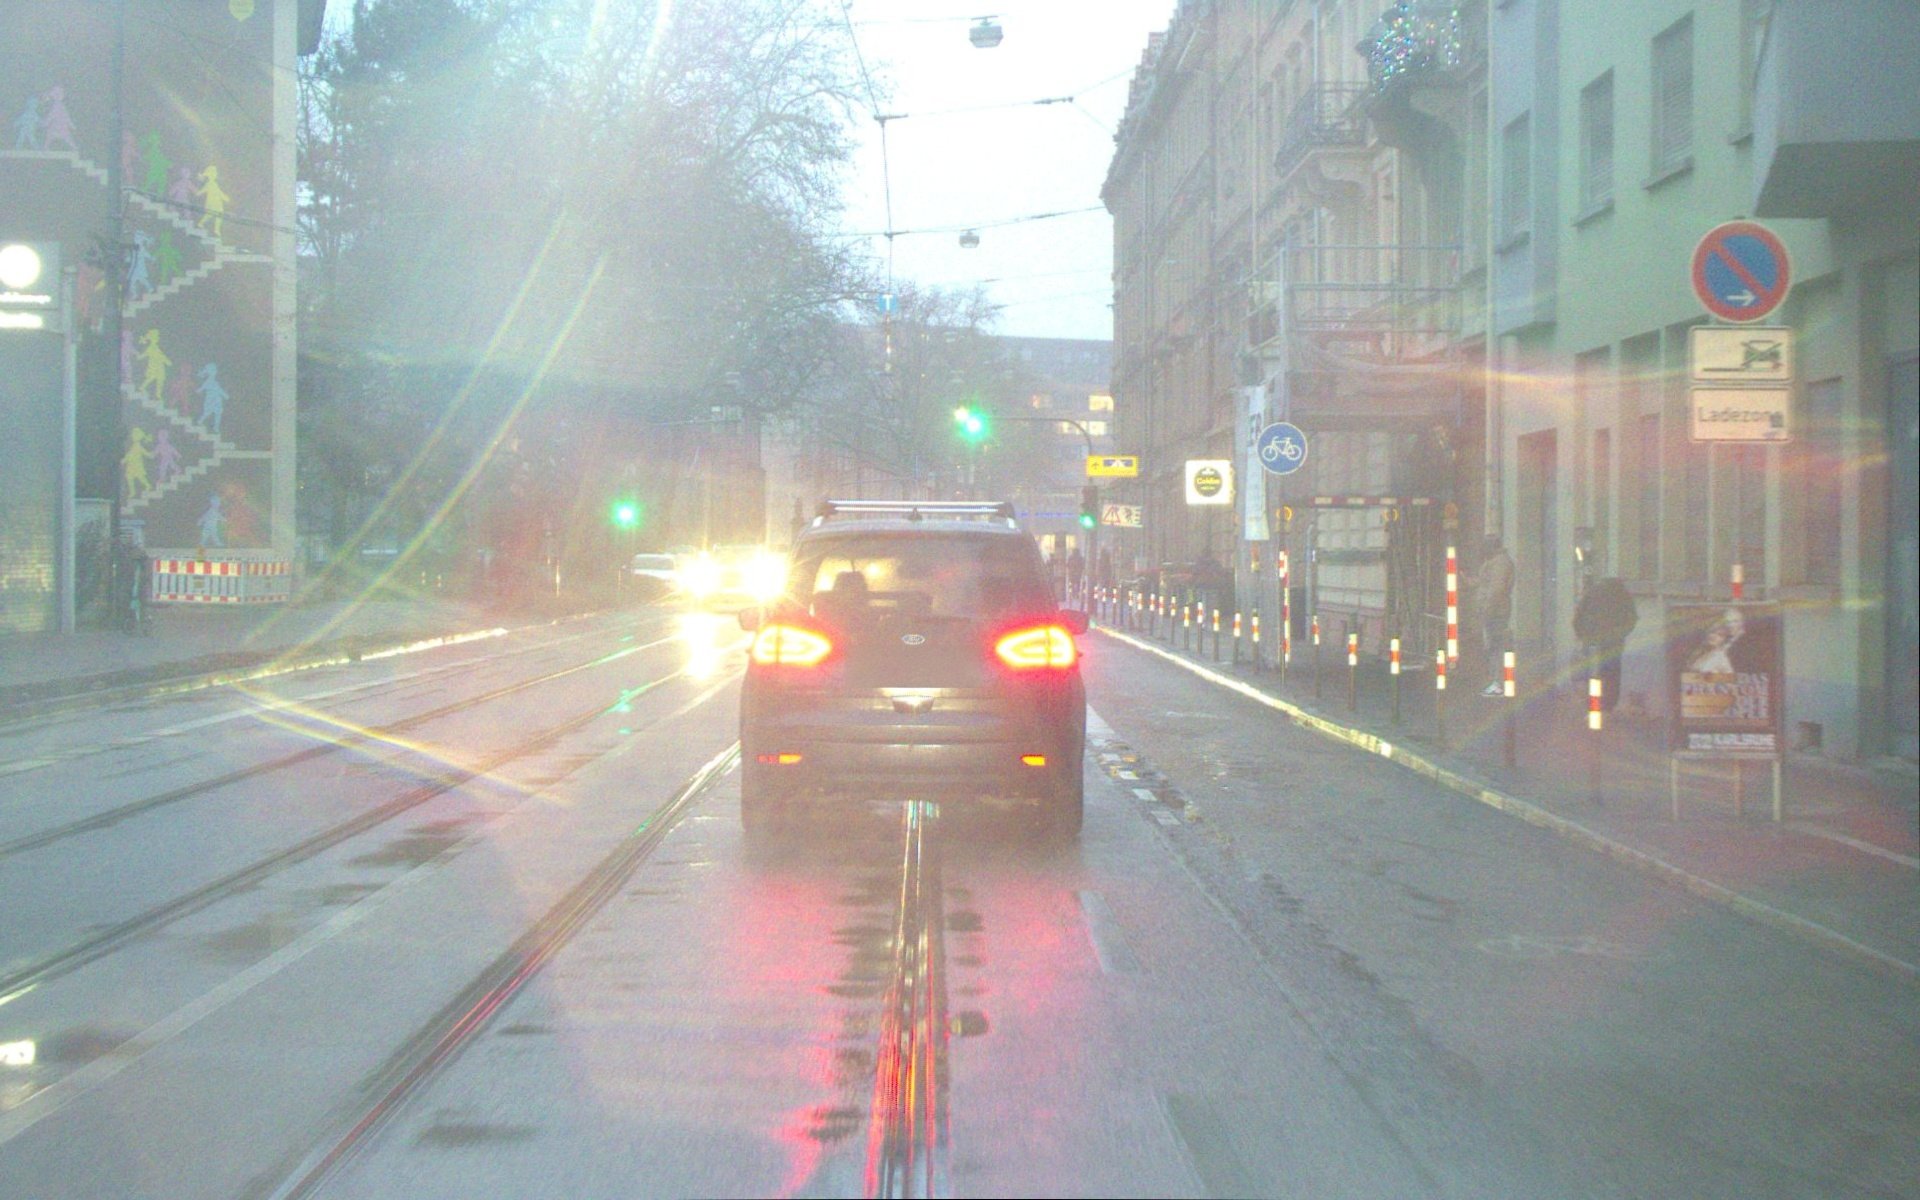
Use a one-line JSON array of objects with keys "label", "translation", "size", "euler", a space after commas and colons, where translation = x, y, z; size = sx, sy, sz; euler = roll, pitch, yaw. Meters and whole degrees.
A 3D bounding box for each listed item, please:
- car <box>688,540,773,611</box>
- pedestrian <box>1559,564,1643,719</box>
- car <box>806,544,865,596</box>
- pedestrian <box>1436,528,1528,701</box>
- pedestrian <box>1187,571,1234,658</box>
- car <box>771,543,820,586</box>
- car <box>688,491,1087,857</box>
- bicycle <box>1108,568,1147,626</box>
[{"label": "car", "translation": [-5.742, -0.639, 86.522], "size": [1.875, 1.704, 4.761], "euler": [-1, 1, -1]}, {"label": "pedestrian", "translation": [5.744, 0.368, 30.840], "size": [0.600, 1.372, 0.728], "euler": [1, 0, -1]}, {"label": "car", "translation": [-5.688, -1.376, 157.708], "size": [2.446, 2.339, 5.845], "euler": [-1, 0, 0]}, {"label": "pedestrian", "translation": [5.536, 0.153, 36.463], "size": [0.598, 1.812, 0.776], "euler": [1, 0, -28]}, {"label": "pedestrian", "translation": [4.953, 0.283, 67.881], "size": [0.835, 1.695, 0.953], "euler": [1, 0, 8]}, {"label": "car", "translation": [-5.729, -1.240, 119.853], "size": [1.530, 1.476, 3.561], "euler": [0, 1, 0]}, {"label": "car", "translation": [-0.295, 0.347, 19.336], "size": [1.994, 1.835, 4.000], "euler": [0, 1, 2]}, {"label": "bicycle", "translation": [3.399, -0.063, 69.910], "size": [0.684, 1.152, 2.188], "euler": [1, 0, 0]}]
